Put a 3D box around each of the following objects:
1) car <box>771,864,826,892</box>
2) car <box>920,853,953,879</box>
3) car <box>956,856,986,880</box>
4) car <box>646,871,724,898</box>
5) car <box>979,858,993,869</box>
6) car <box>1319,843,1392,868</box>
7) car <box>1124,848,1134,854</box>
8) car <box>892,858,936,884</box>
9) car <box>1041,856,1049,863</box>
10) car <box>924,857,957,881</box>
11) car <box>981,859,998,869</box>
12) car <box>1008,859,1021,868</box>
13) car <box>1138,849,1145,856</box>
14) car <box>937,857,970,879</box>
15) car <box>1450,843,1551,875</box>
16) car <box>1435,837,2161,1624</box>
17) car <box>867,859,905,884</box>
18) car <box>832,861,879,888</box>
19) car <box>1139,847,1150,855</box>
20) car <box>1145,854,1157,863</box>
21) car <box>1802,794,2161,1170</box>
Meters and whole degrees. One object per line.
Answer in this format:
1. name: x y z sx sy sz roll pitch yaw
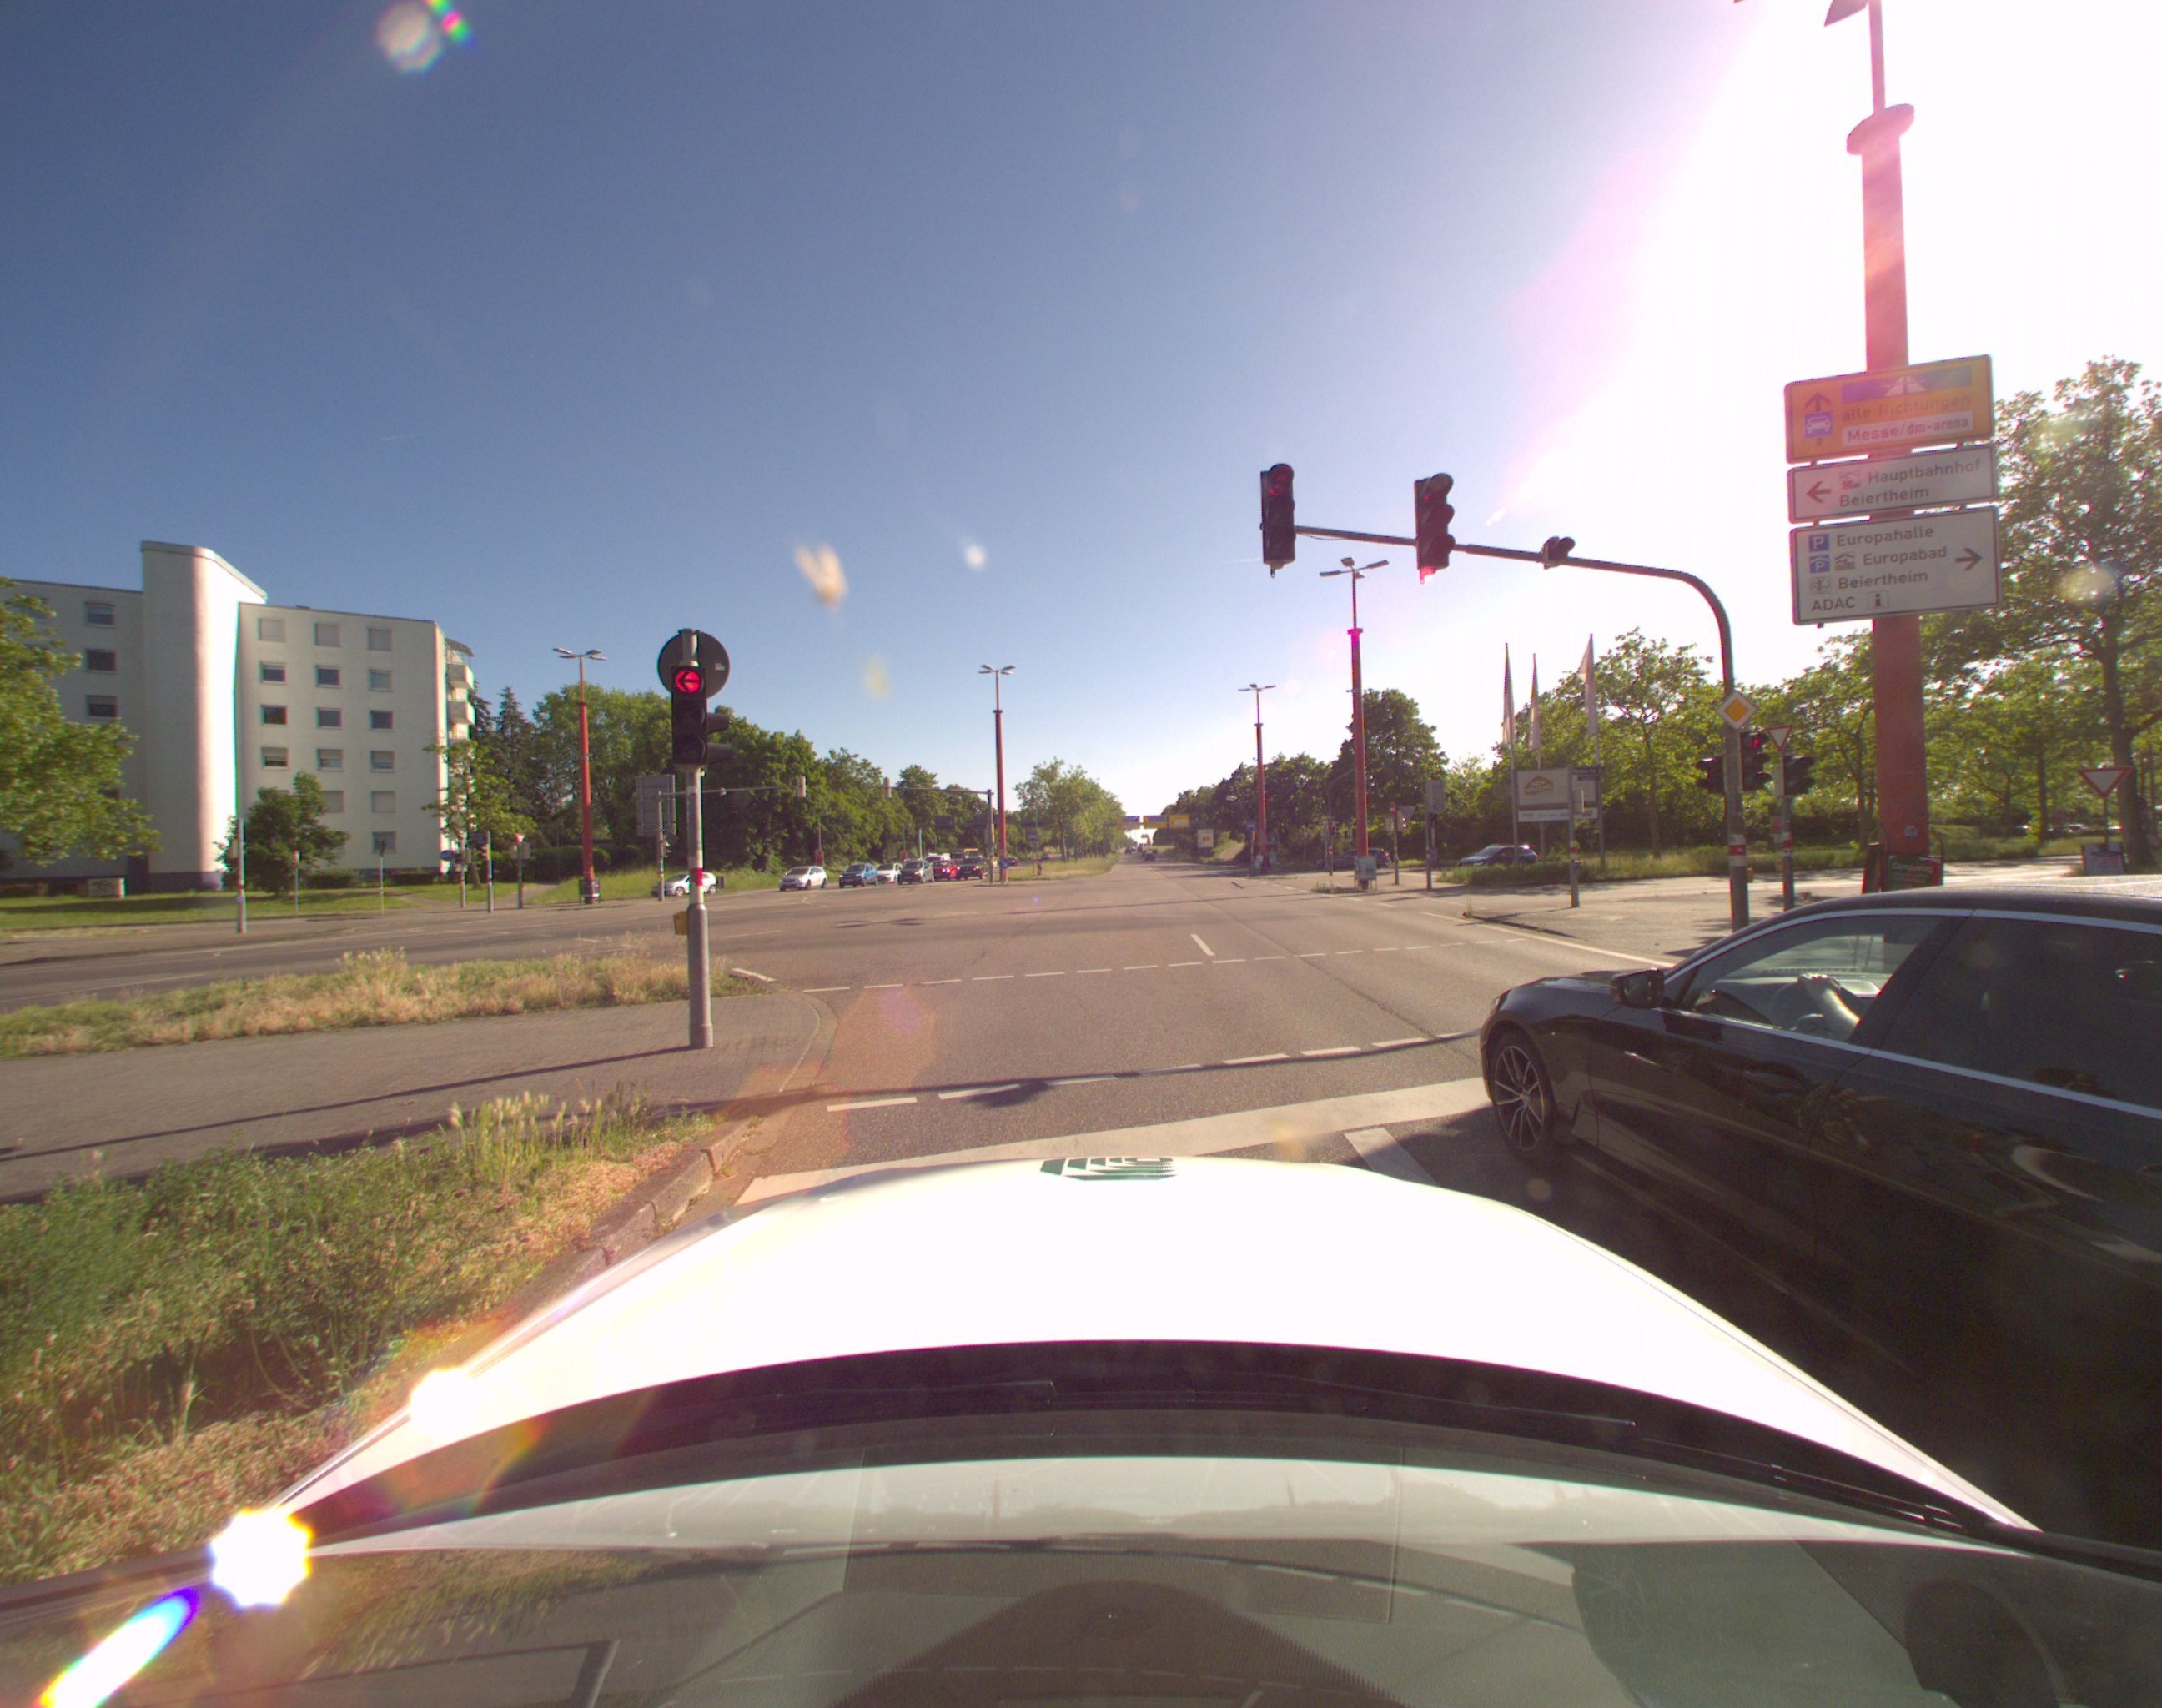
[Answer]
1. car: -17.692 1.469 51.179 1.987 1.573 4.120 -2 0 0
2. car: -12.734 1.057 71.984 2.055 2.193 4.377 -2 0 0
3. car: -7.565 0.941 56.488 1.874 1.573 4.112 -2 0 -6
4. car: -24.252 1.833 50.048 1.779 1.452 4.241 -2 0 18
5. car: -14.658 1.500 125.703 1.872 1.573 4.117 -2 0 -2
6. car: 19.270 0.109 57.243 4.524 1.573 2.179 -2 0 28
7. car: 13.757 -0.747 234.102 2.241 1.573 4.276 -2 0 -3
8. car: -10.731 1.048 52.578 1.988 1.573 4.119 -2 0 -1
9. car: -8.658 1.353 197.021 1.872 1.573 3.943 -2 0 -2
10. car: -10.102 1.049 58.870 1.991 1.573 4.112 -2 0 -6
11. car: -13.184 1.420 117.672 1.877 1.454 3.658 -2 0 2
12. car: -11.130 1.560 136.625 1.814 1.454 3.658 -2 0 2
13. car: 18.638 -0.436 249.900 1.986 2.013 4.002 -2 0 2
14. car: -10.065 1.096 64.651 1.988 1.573 4.118 -2 0 -1
15. car: 20.714 0.237 40.246 4.276 1.428 1.874 -2 0 -16
16. car: 2.955 0.665 2.371 1.986 1.394 4.479 -2 0 2
17. car: -13.737 1.218 57.521 1.991 1.573 4.112 -3 0 -6
18. car: -14.235 1.286 51.639 1.989 1.573 4.116 -2 0 -3
19. car: 14.840 -0.698 189.938 2.153 1.573 4.277 -2 0 -2
20. car: 12.556 0.782 146.425 2.149 1.573 4.285 -2 0 4
21. car: 5.802 0.559 3.260 1.959 1.686 4.479 -1 0 2
